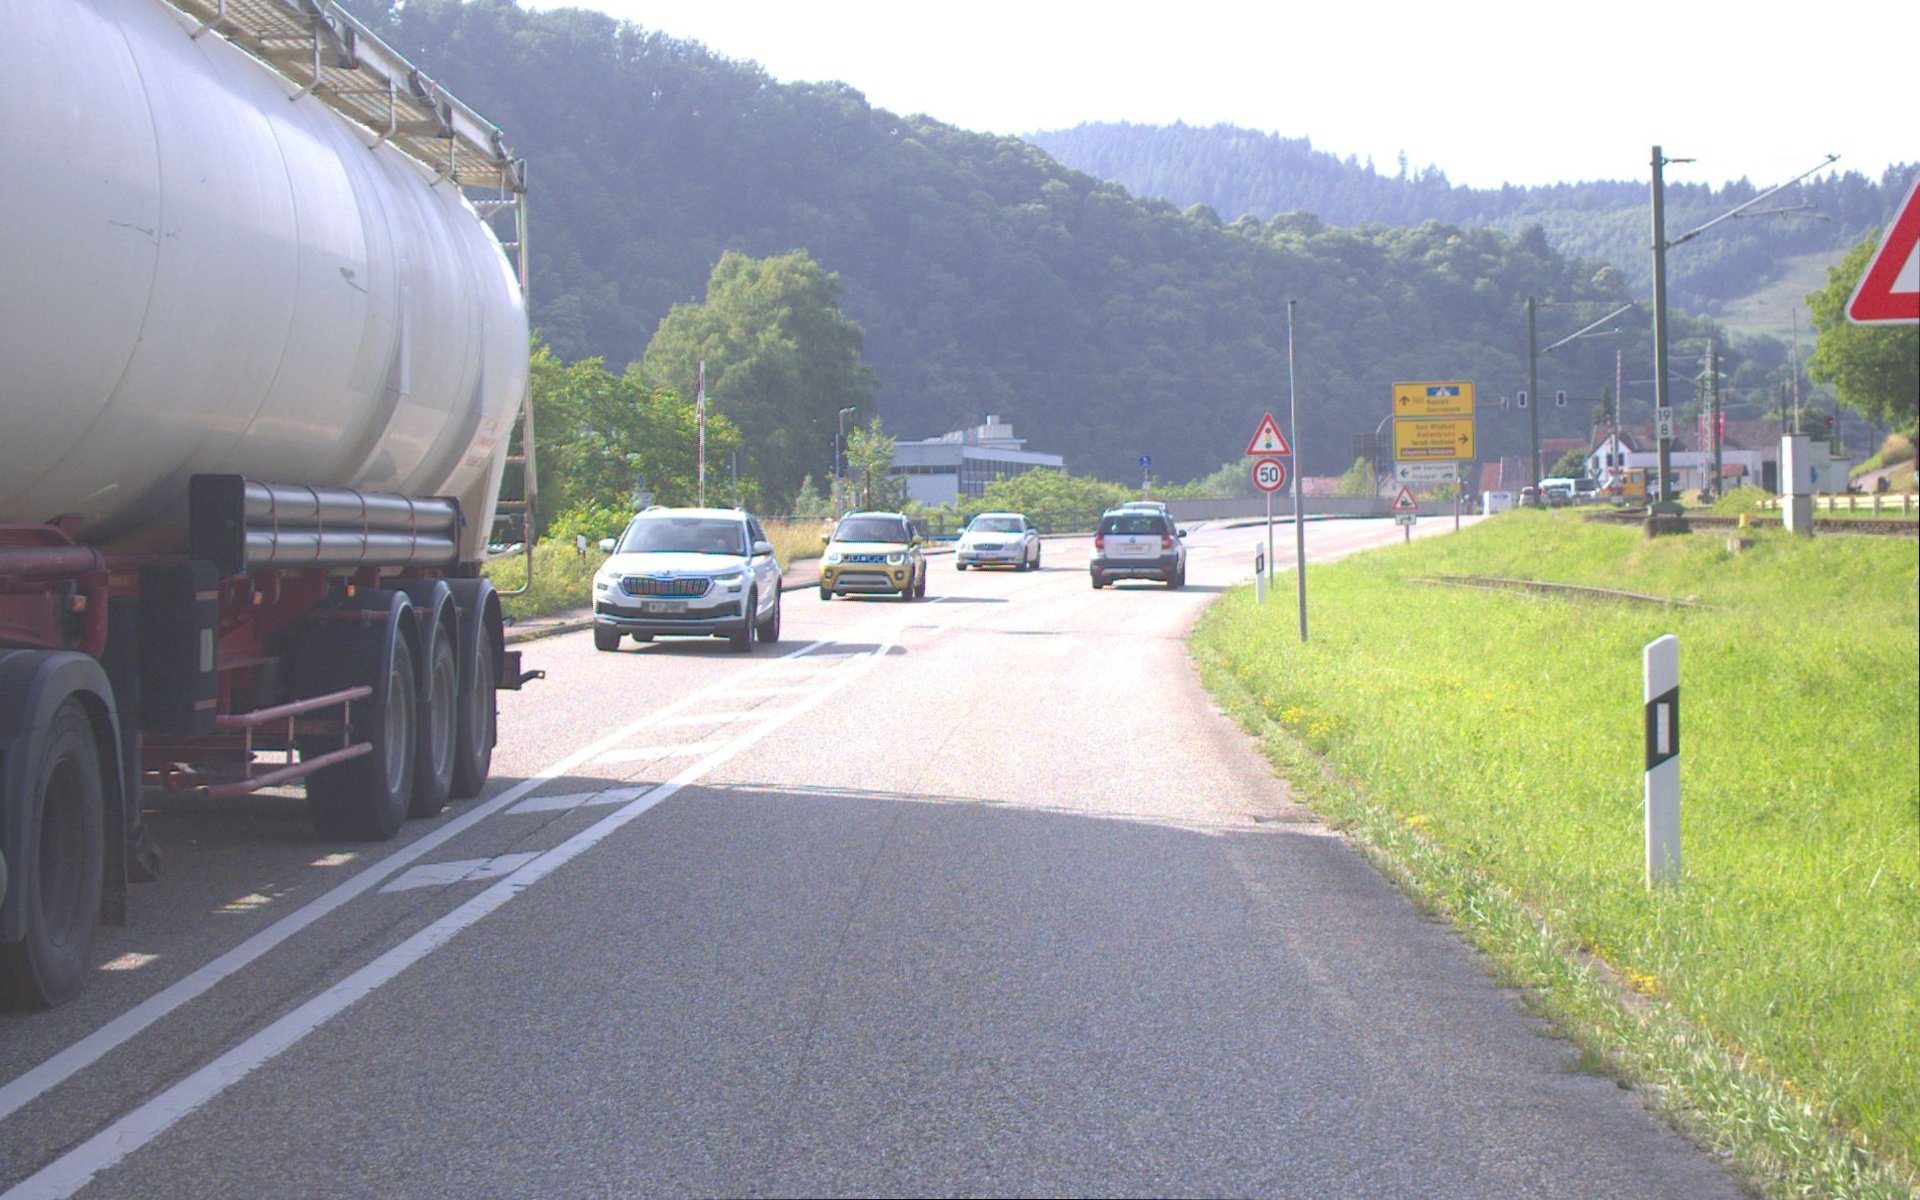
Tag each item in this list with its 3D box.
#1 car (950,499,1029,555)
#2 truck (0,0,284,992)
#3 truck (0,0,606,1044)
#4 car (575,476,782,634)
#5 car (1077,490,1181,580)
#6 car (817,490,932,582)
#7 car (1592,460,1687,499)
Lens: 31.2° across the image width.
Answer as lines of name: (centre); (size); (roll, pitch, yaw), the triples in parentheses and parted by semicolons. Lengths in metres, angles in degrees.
car: (0.761, -1.852, 86.702); (1.778, 1.343, 4.511); (1, 2, 3)
truck: (-4.053, -0.822, 9.716); (2.750, 3.822, 8.199); (0, 1, -1)
truck: (-3.948, -0.835, 16.475); (2.750, 3.822, 14.562); (0, 1, 1)
car: (-3.295, -0.558, 41.095); (1.993, 1.752, 4.469); (1, 1, 1)
car: (3.487, -1.364, 71.504); (1.994, 1.717, 3.990); (-3, 1, 2)
car: (-1.519, -1.189, 62.464); (1.724, 1.619, 3.796); (0, 2, 4)
car: (40.384, -7.188, 204.284); (5.283, 2.006, 1.998); (-3, 1, 18)
